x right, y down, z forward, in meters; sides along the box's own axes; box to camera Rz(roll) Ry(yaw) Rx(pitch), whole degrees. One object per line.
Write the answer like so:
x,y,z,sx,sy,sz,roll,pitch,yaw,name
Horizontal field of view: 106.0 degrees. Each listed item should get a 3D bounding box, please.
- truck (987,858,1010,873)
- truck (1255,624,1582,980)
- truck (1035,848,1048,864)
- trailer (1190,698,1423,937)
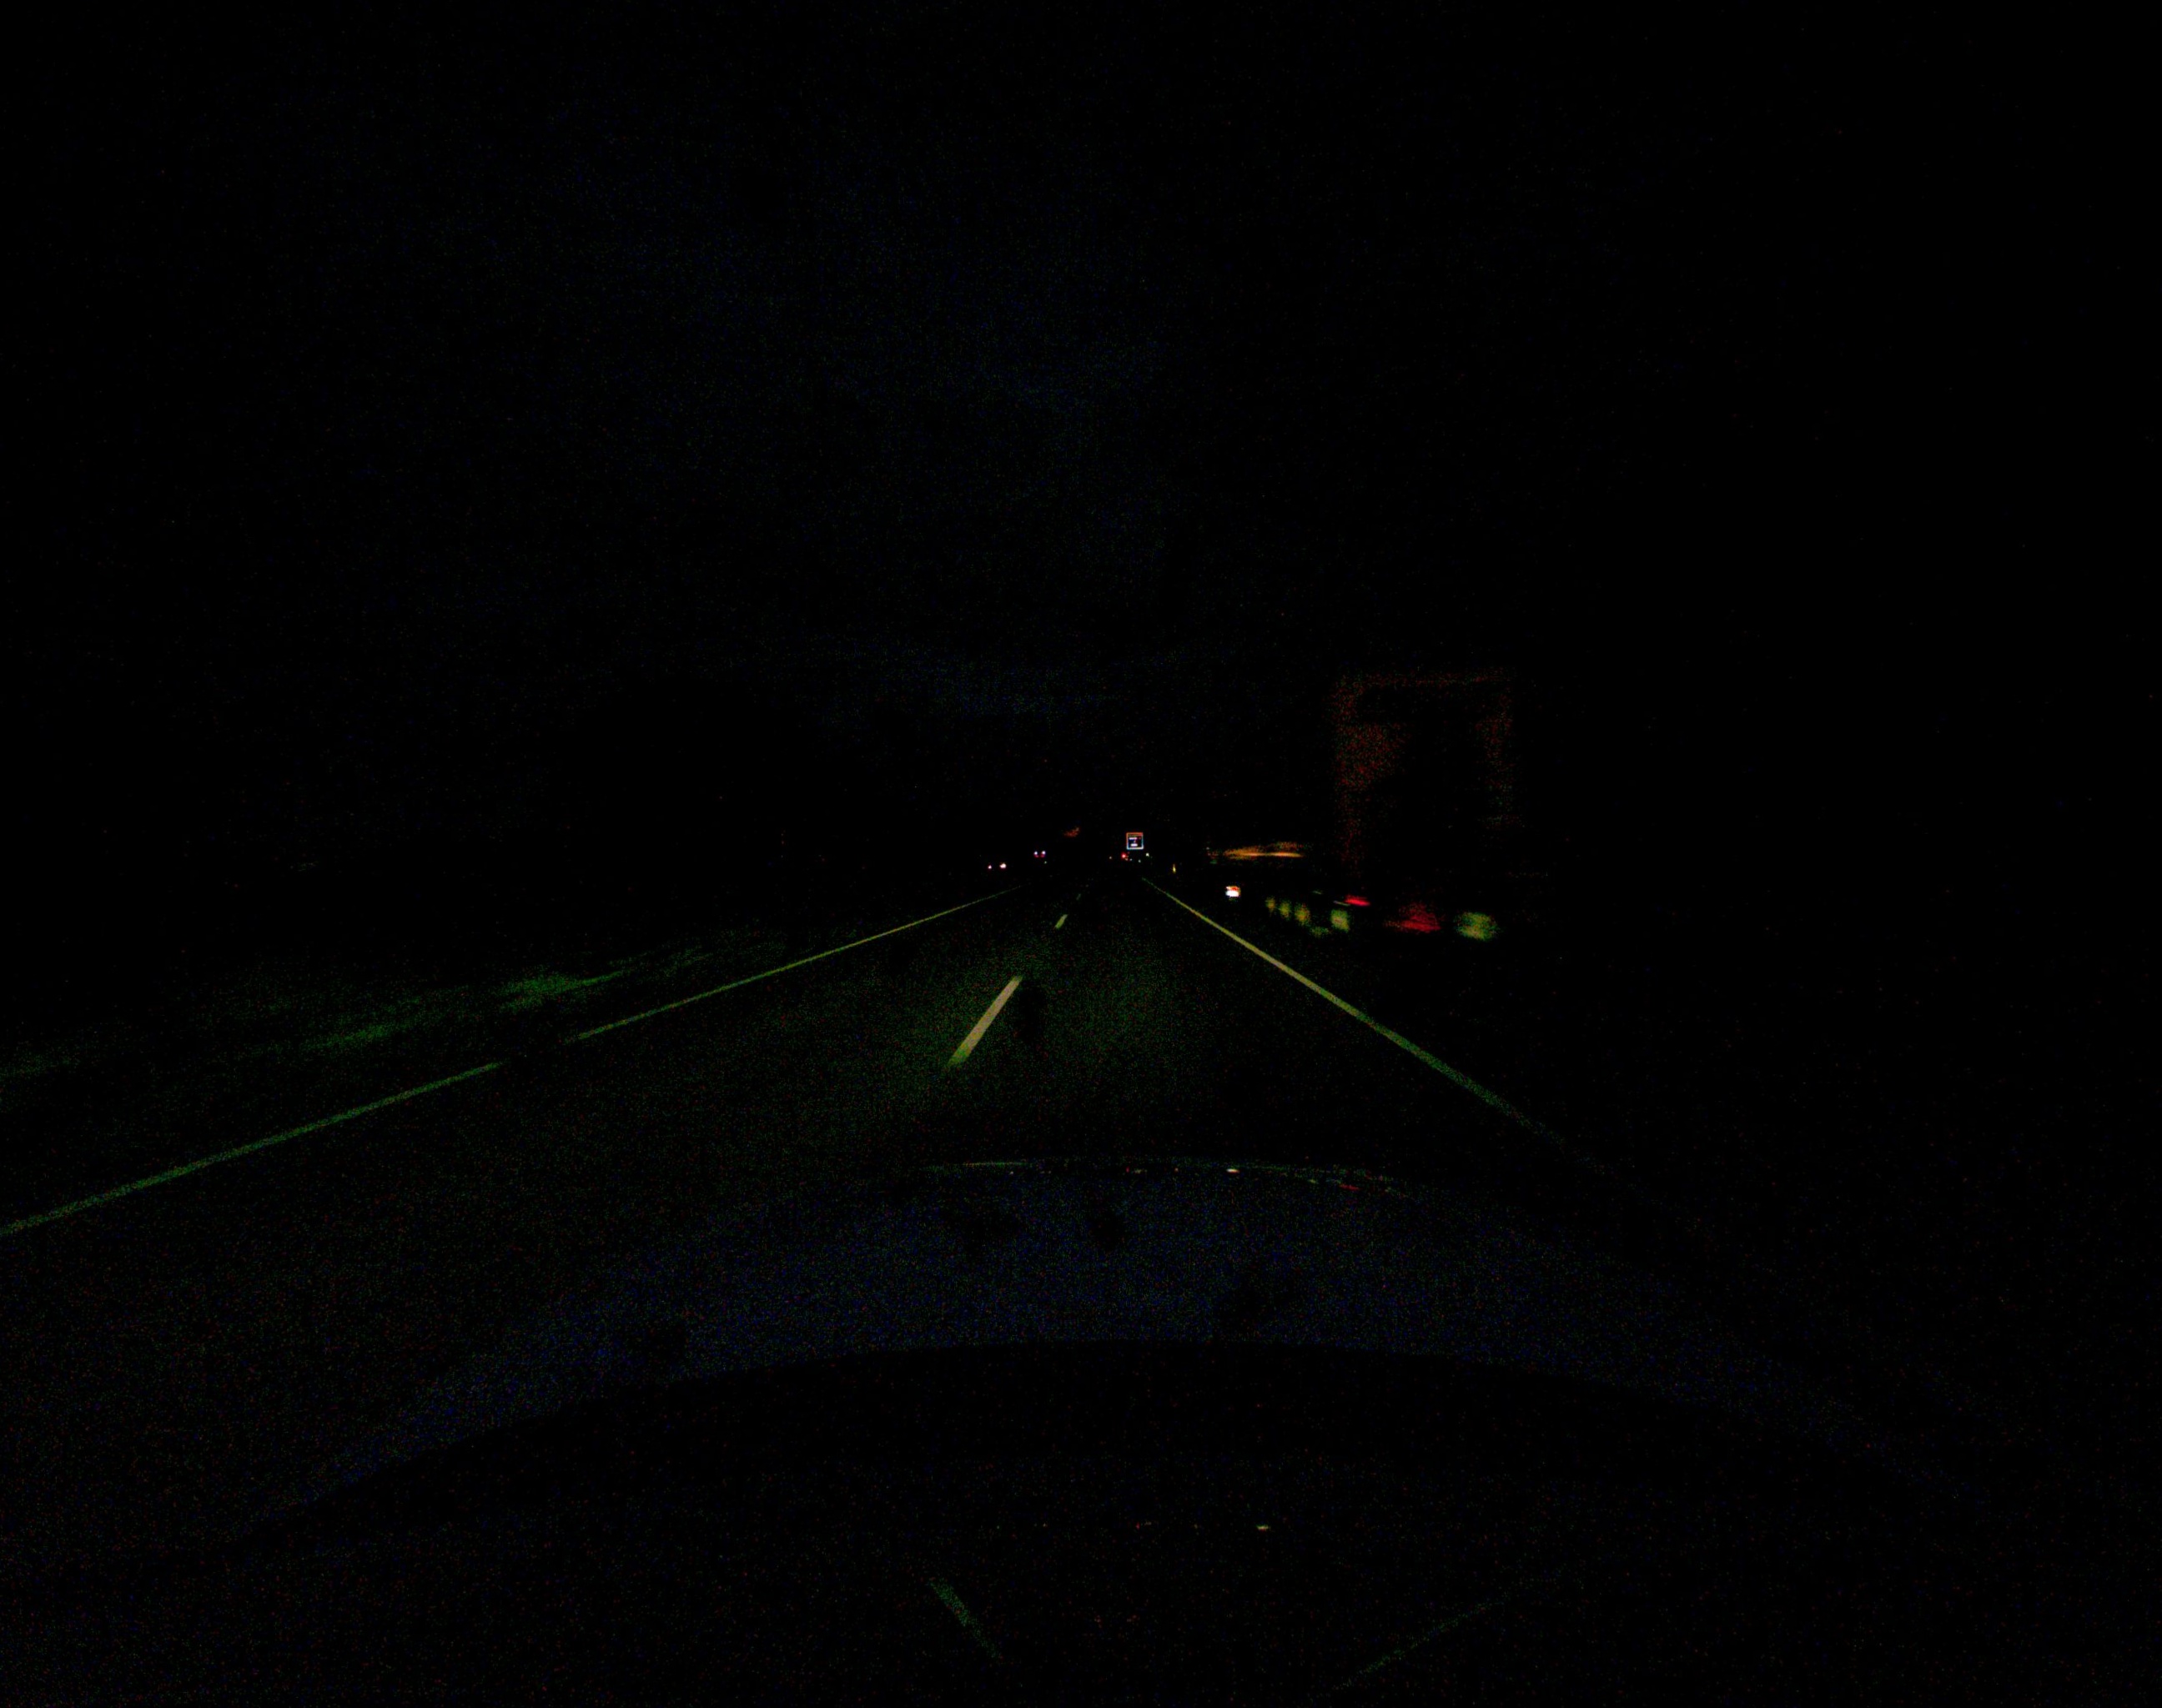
-9.199,1.299,91.456,2.009,1.653,4.774,0,-1,1,truck
4.538,-0.620,12.453,2.570,4.071,6.132,-1,0,1,truck
-8.647,0.492,180.456,2.210,3.445,6.719,0,-1,3,truck
4.828,-0.628,20.780,2.612,4.104,12.943,-2,0,2,trailer
